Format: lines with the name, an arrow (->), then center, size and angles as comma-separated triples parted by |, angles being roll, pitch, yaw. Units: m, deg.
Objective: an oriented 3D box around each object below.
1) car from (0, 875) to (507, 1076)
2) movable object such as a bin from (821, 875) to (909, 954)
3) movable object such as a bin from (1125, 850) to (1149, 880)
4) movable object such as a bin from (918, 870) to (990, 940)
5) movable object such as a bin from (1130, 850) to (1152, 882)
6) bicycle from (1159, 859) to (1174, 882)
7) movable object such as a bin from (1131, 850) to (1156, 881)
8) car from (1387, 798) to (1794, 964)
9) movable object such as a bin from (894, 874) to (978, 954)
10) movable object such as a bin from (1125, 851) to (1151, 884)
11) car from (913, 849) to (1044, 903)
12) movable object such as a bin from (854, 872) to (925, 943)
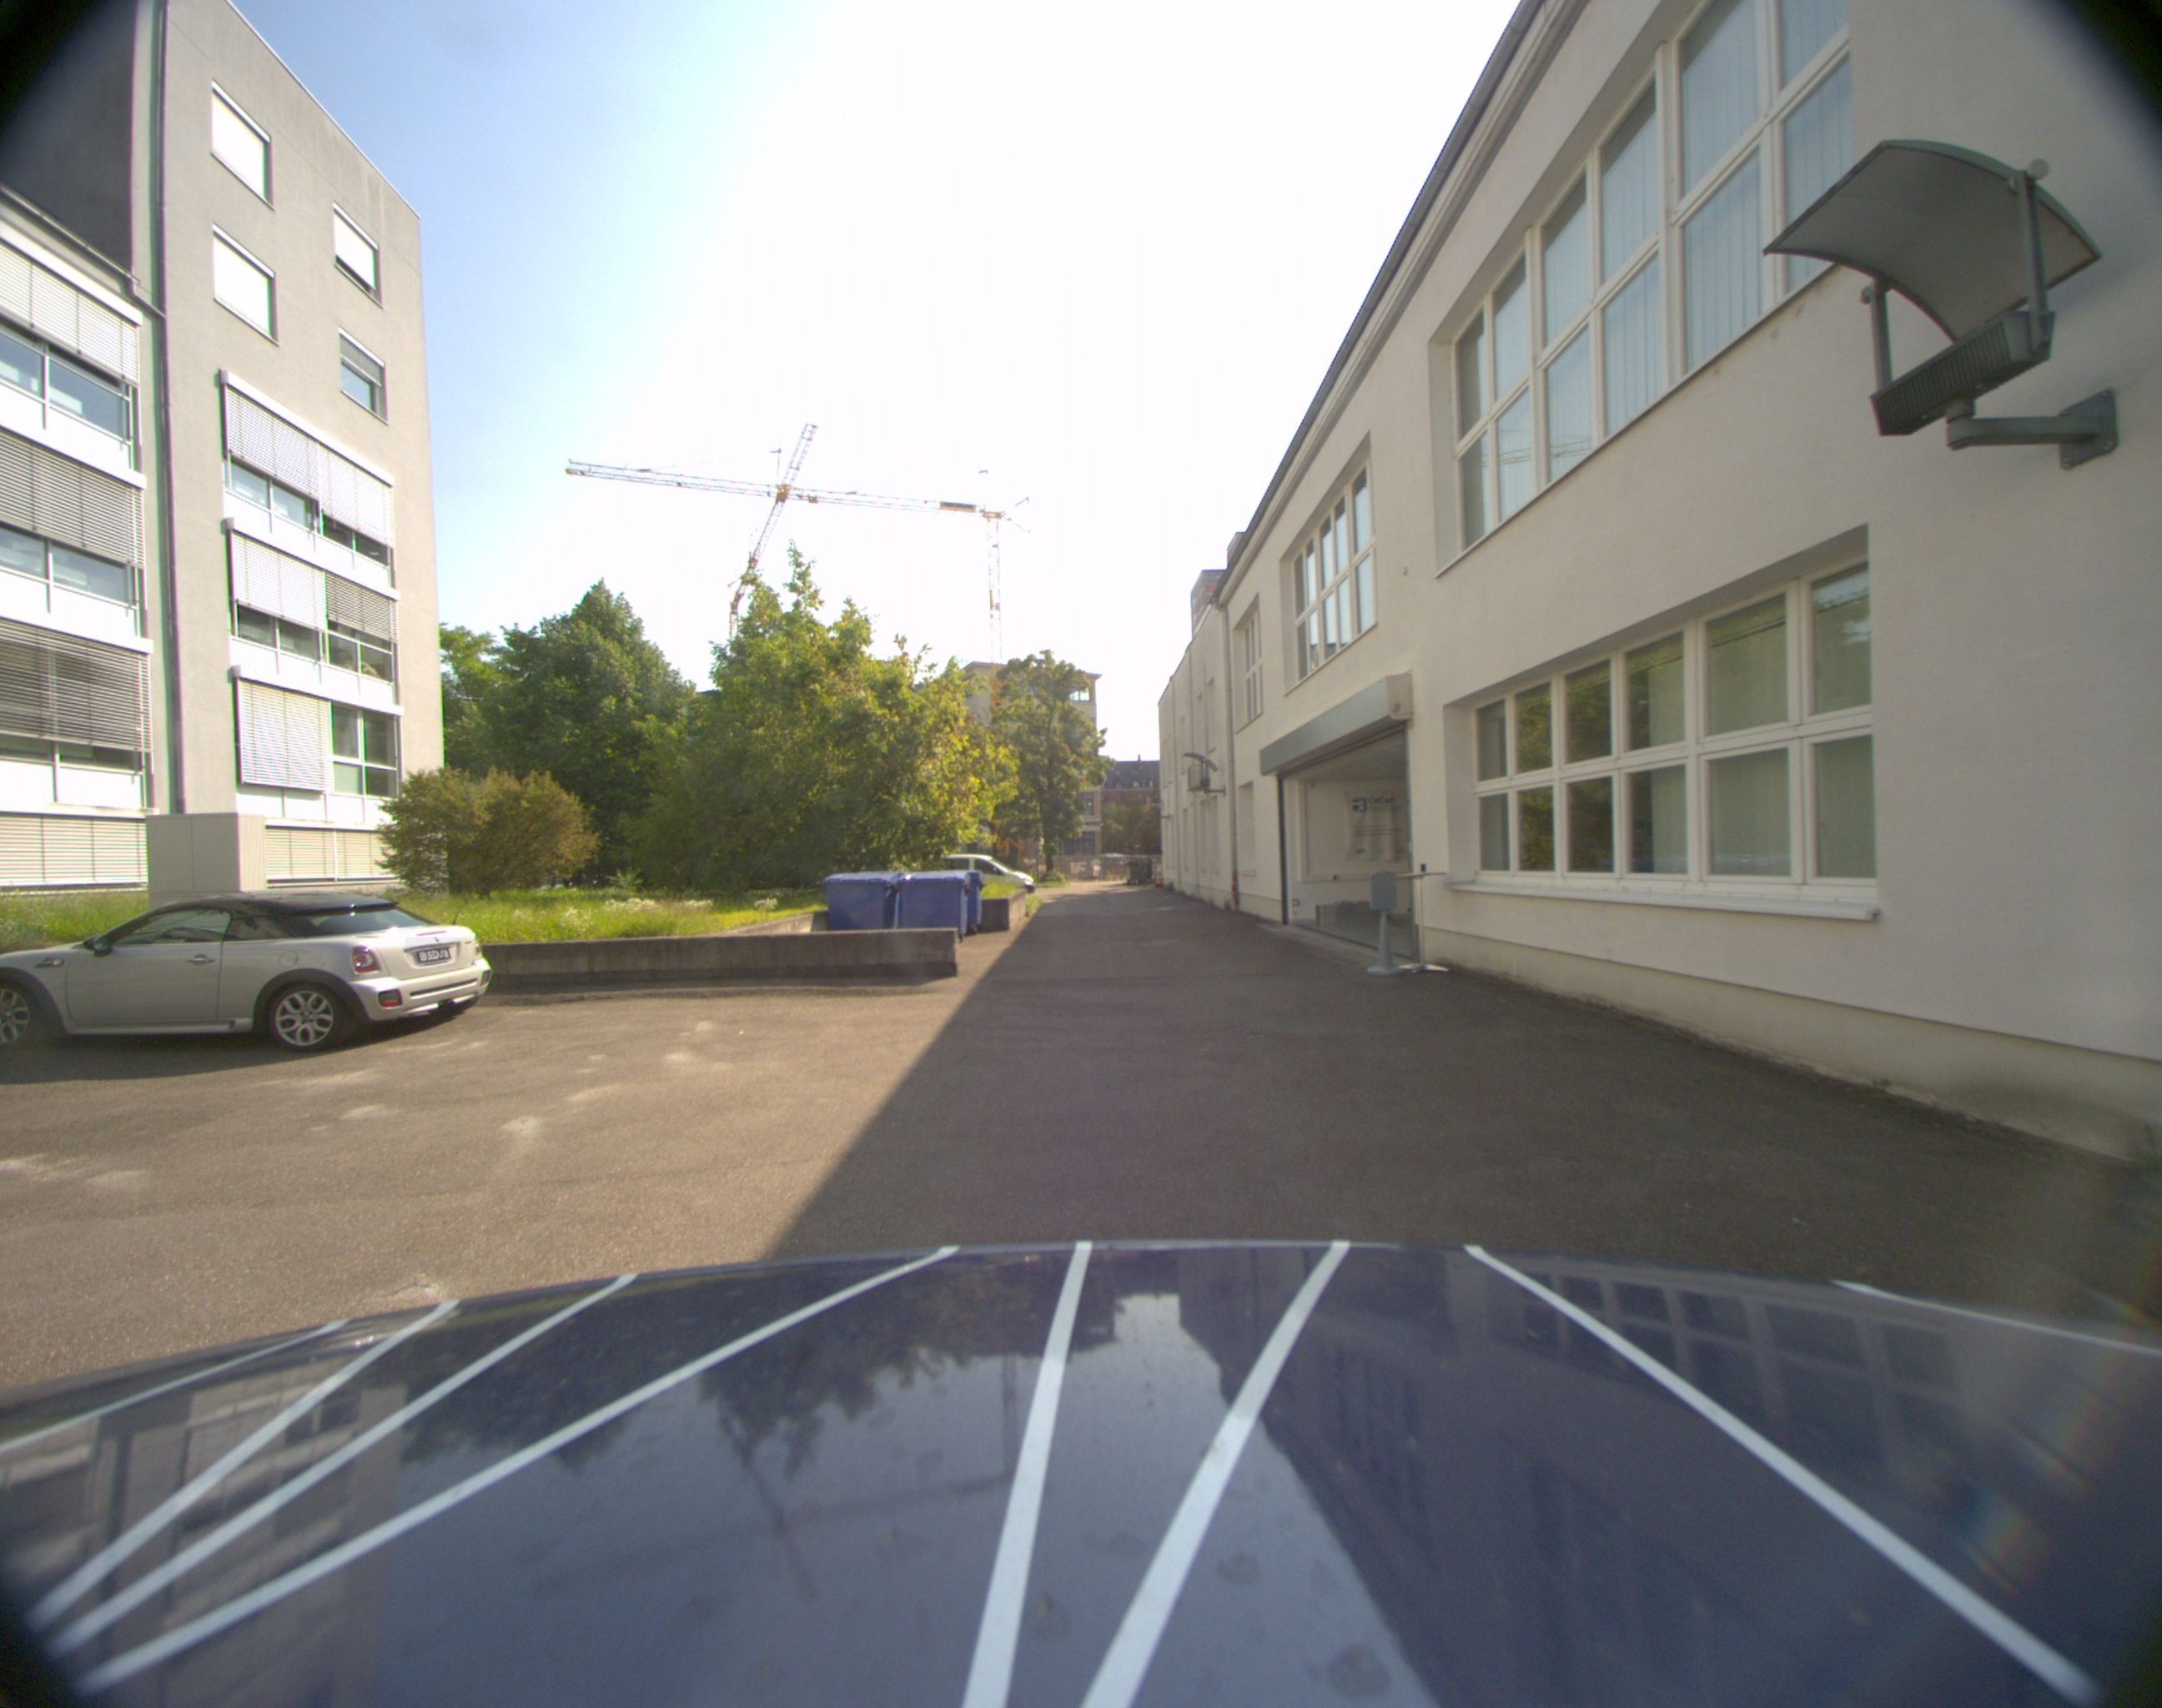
car -> -8.041, 1.058, 7.292 | 3.629, 1.536, 1.802 | 2, 1, -2
movable object such as a bin -> -3.990, 1.107, 14.145 | 1.237, 1.333, 1.117 | -2, 1, 3
movable object such as a bin -> 3.351, 0.632, 45.304 | 1.184, 1.696, 1.376 | -2, 1, -4
movable object such as a bin -> -2.630, 1.039, 15.859 | 1.313, 1.333, 1.100 | -2, 1, -3
movable object such as a bin -> 3.352, 0.657, 42.499 | 1.183, 1.696, 1.395 | -2, 1, 4
bicycle -> 4.735, 0.921, 42.236 | 0.477, 1.206, 2.008 | -2, 1, -2
movable object such as a bin -> 3.626, 0.634, 43.908 | 1.184, 1.696, 1.376 | -2, 1, -4
car -> 7.485, 0.368, 11.563 | 4.759, 2.080, 2.055 | -3, 1, 0
movable object such as a bin -> -2.660, 1.087, 14.108 | 1.303, 1.333, 1.194 | -2, 1, -1
movable object such as a bin -> 3.044, 0.684, 40.696 | 1.184, 1.696, 1.376 | -2, 1, -4
car -> -4.136, 0.878, 31.256 | 4.969, 1.910, 2.044 | -3, 1, 2
movable object such as a bin -> -3.965, 1.089, 15.863 | 1.230, 1.333, 1.076 | -2, 1, -5
